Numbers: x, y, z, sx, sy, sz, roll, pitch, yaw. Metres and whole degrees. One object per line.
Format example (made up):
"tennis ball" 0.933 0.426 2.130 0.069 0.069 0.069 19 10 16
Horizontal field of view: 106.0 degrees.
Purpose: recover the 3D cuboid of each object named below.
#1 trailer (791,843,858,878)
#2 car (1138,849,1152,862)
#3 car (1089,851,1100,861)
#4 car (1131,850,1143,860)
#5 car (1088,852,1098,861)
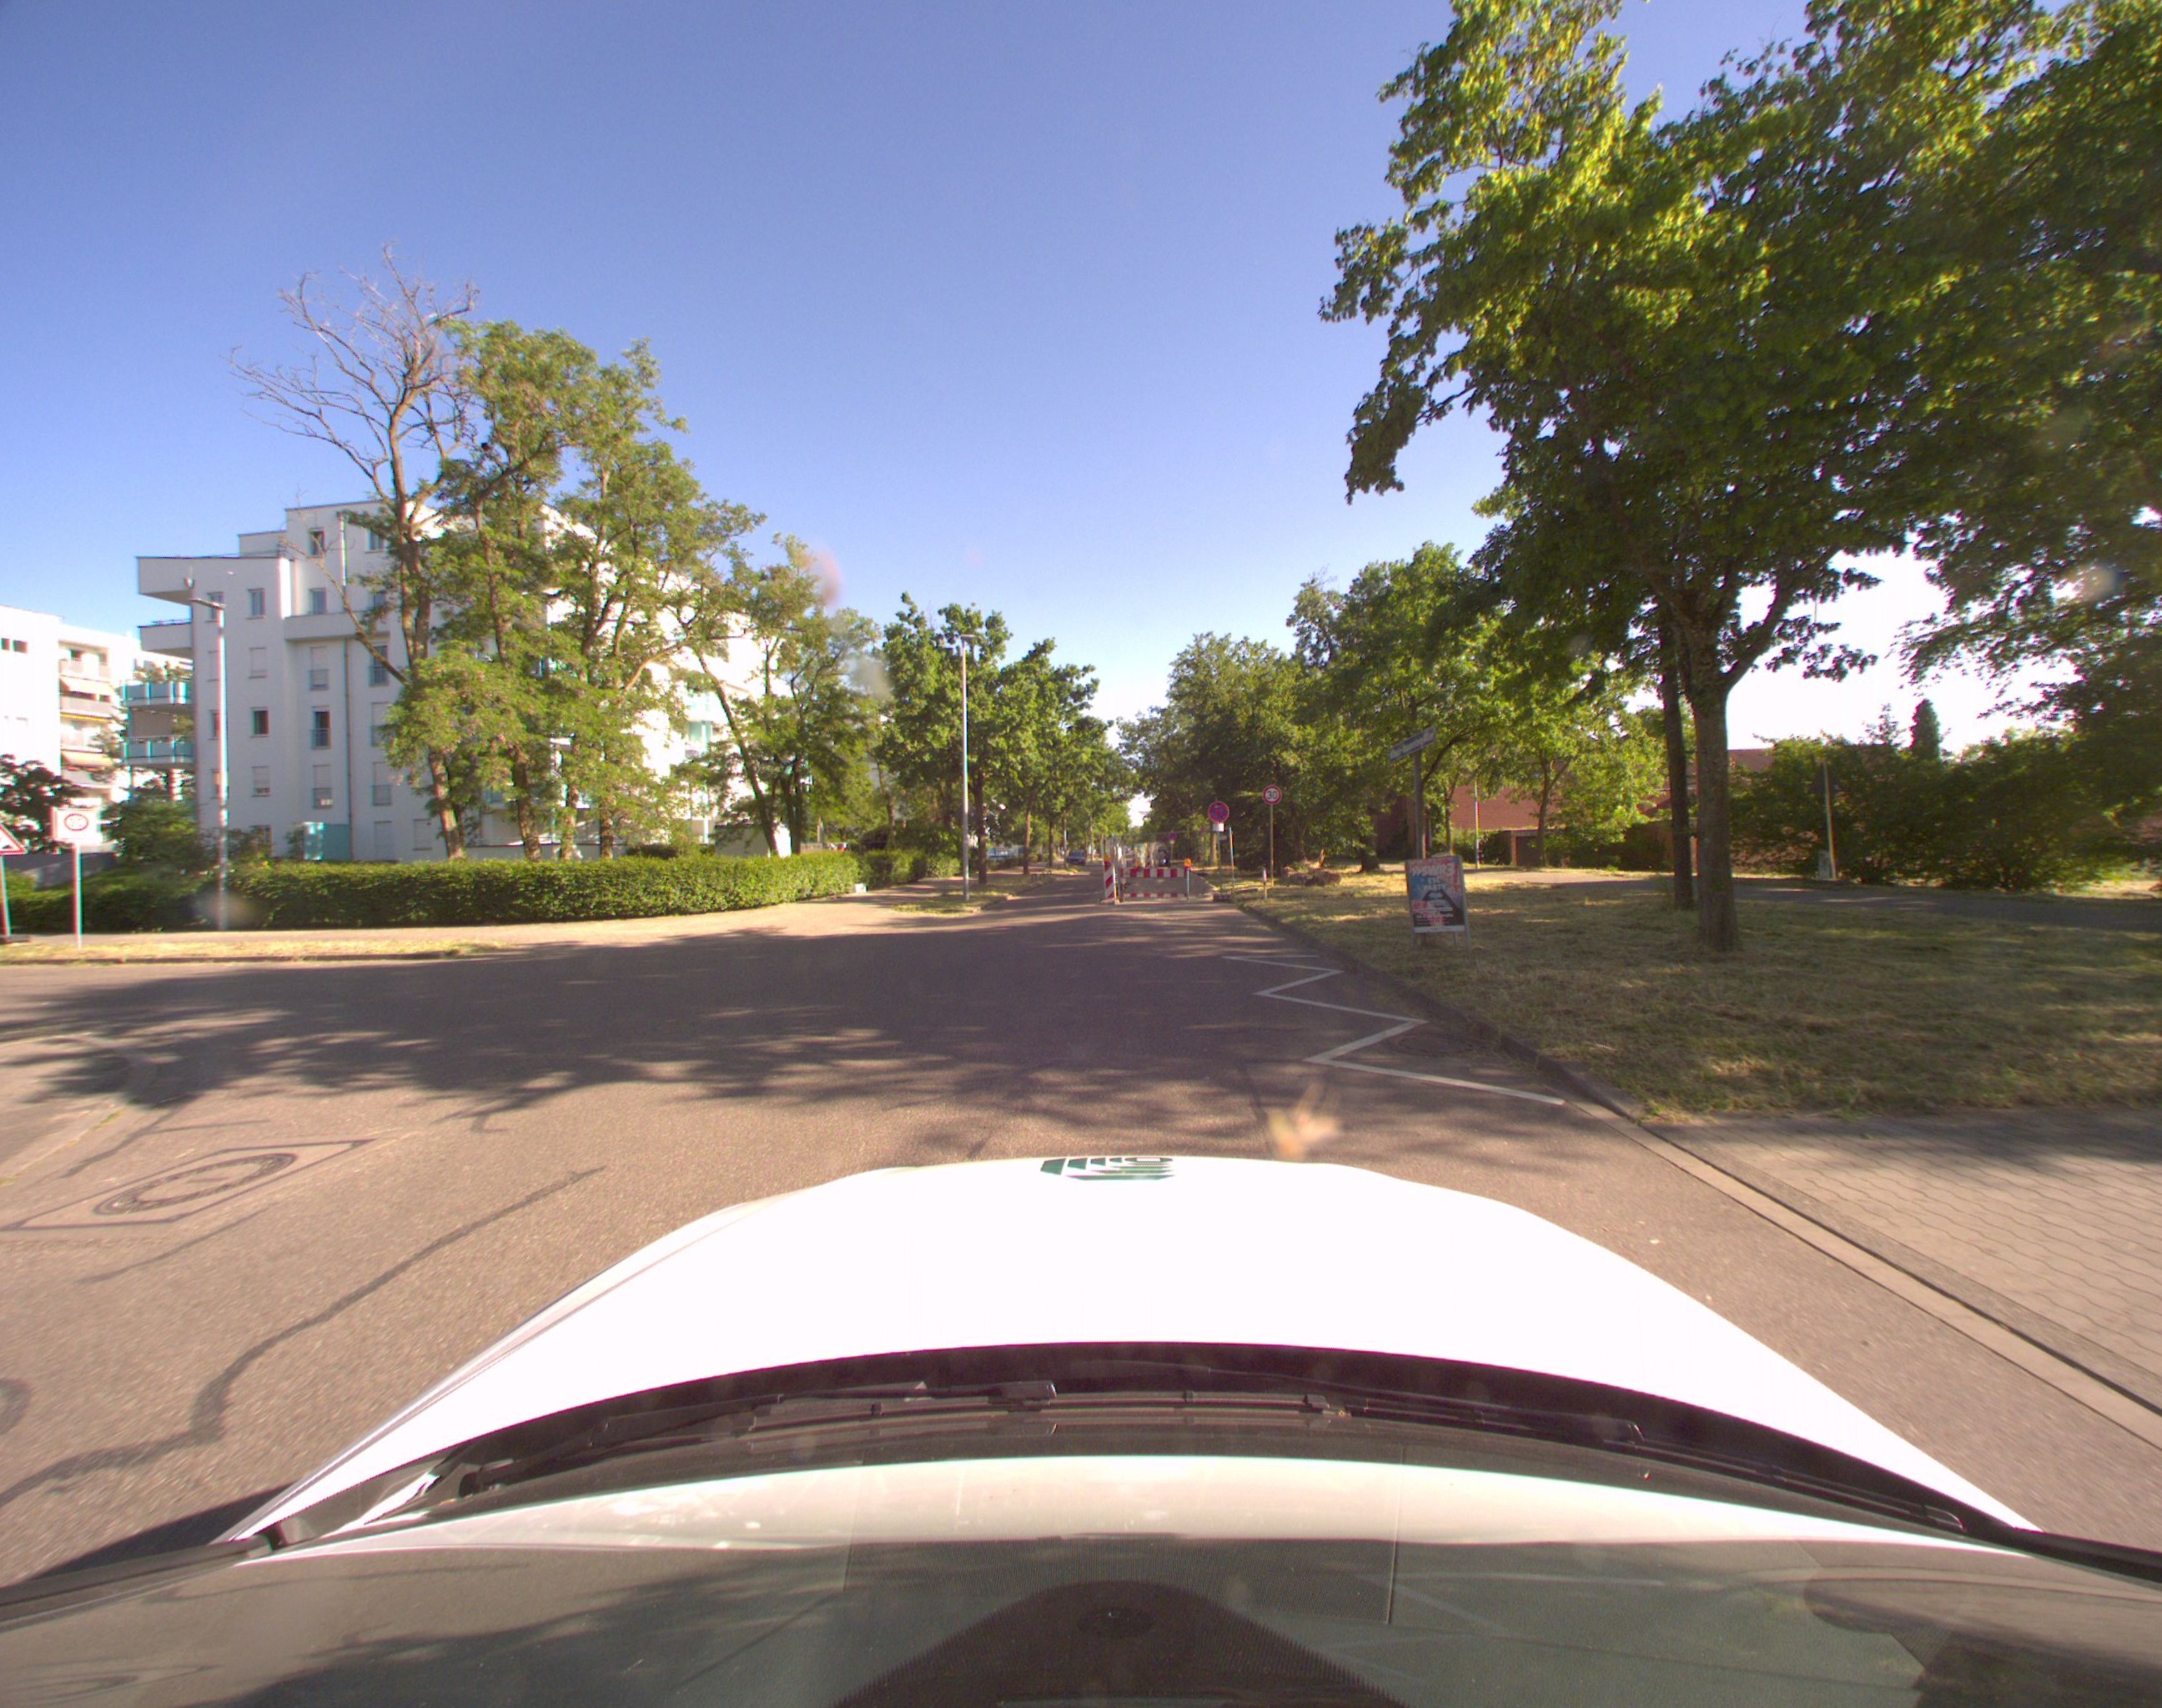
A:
"trailer" -15.750 0.376 50.248 1.964 2.042 4.443 -2 0 11
"car" 6.912 0.181 88.138 1.356 1.302 3.482 0 -1 2
"car" 1.893 0.287 114.008 1.356 1.302 3.482 0 -1 2
"car" 6.943 0.145 101.138 1.356 1.302 3.482 0 -1 2
"car" 1.865 0.382 125.767 1.356 1.302 3.482 0 -1 2
